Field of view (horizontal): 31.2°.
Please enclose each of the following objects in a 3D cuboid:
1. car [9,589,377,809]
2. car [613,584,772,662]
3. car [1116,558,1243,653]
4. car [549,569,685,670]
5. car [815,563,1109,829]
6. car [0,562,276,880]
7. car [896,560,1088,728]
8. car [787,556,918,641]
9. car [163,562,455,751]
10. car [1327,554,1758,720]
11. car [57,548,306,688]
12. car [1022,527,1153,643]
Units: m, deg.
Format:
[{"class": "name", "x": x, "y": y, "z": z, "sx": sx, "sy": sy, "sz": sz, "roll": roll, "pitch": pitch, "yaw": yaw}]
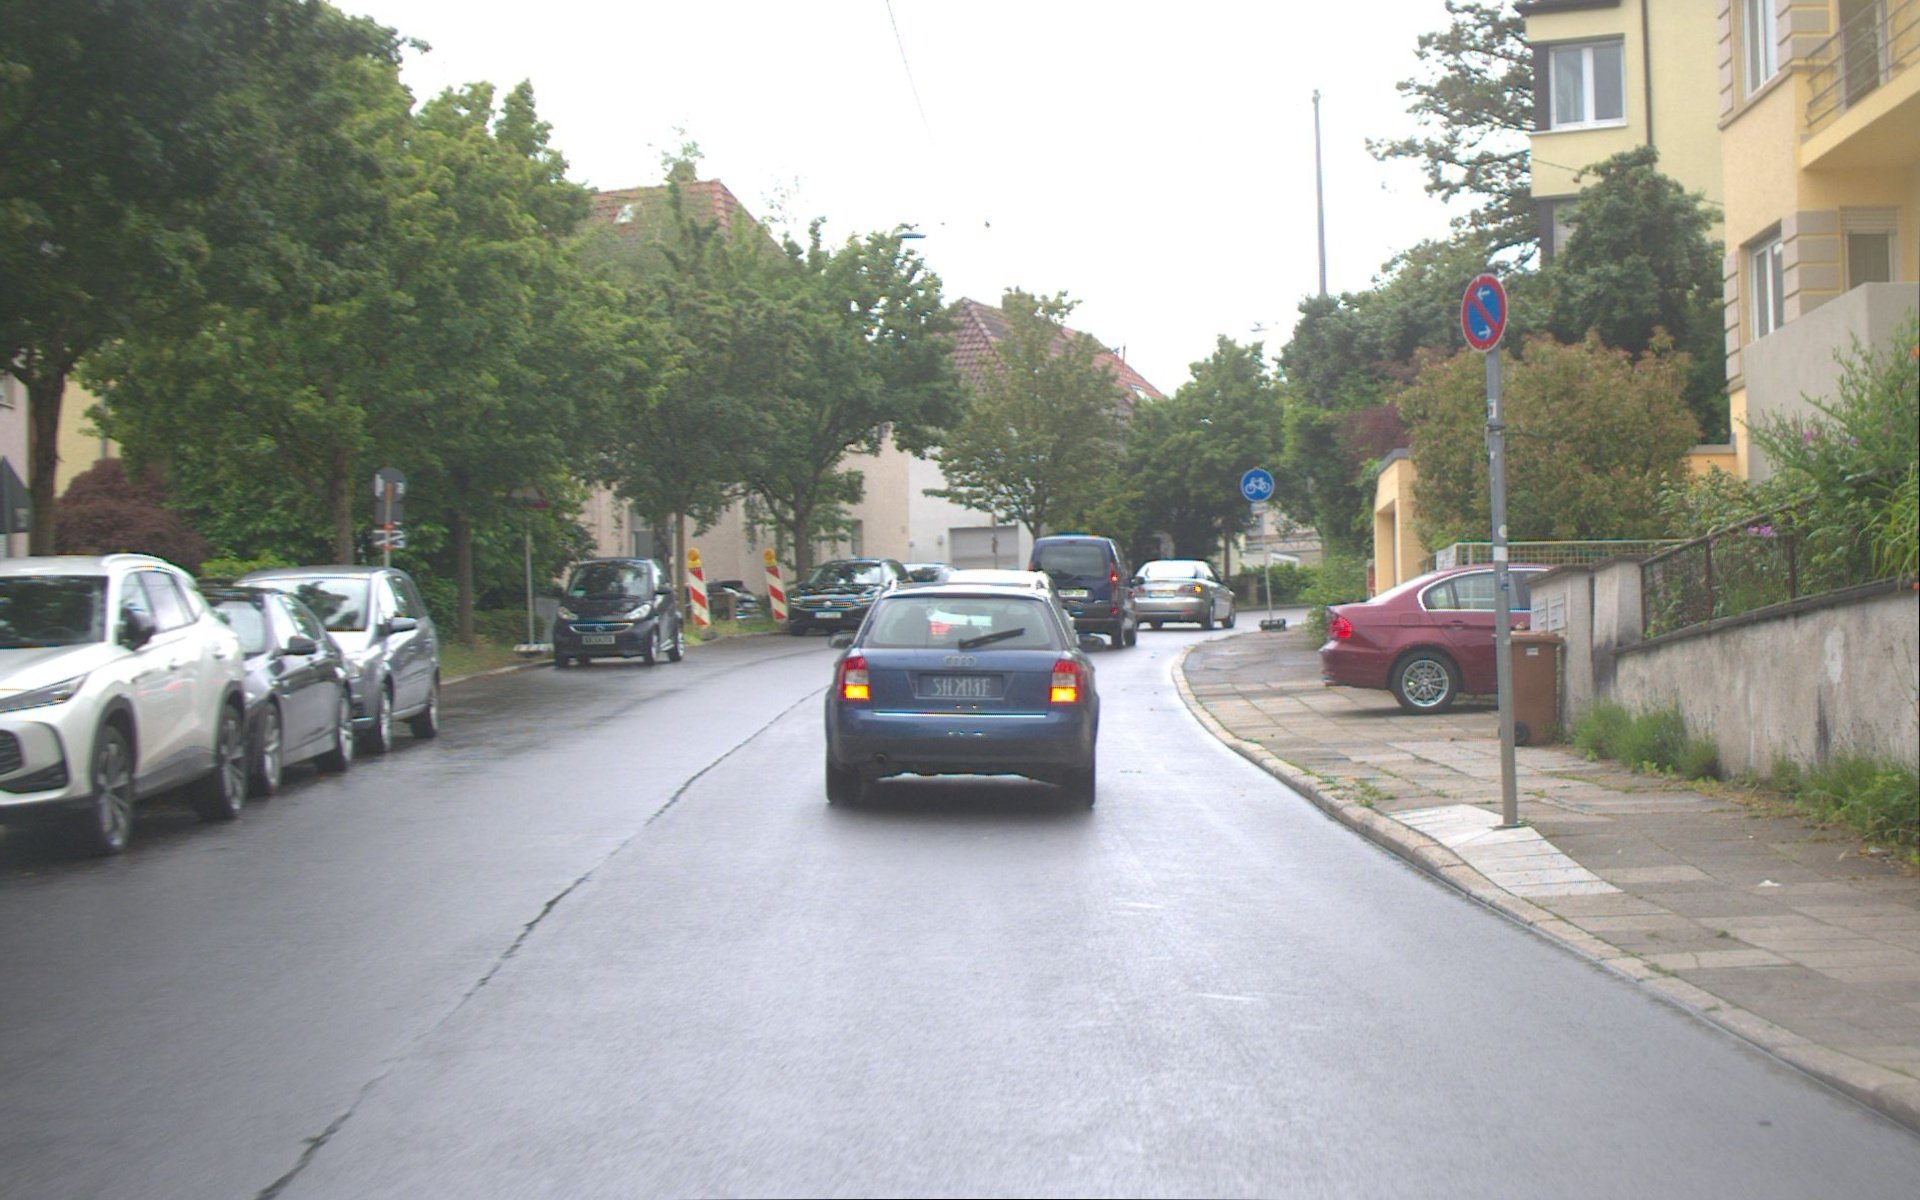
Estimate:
[{"class": "car", "x": -5.558, "y": 0.675, "z": 25.391, "sx": 1.768, "sy": 1.468, "sz": 4.007, "roll": -1, "pitch": 0, "yaw": 1}, {"class": "car", "x": -6.190, "y": 0.535, "z": 79.670, "sx": 3.212, "sy": 1.367, "sz": 1.479, "roll": -7, "pitch": 2, "yaw": 17}, {"class": "car", "x": 4.558, "y": 0.079, "z": 70.841, "sx": 1.735, "sy": 1.762, "sz": 4.232, "roll": 3, "pitch": 2, "yaw": 15}, {"class": "car", "x": -4.968, "y": 0.264, "z": 50.087, "sx": 1.475, "sy": 1.291, "sz": 3.220, "roll": 3, "pitch": 2, "yaw": 3}, {"class": "car", "x": 0.022, "y": 0.565, "z": 22.977, "sx": 1.733, "sy": 1.461, "sz": 4.000, "roll": 2, "pitch": 2, "yaw": 0}, {"class": "car", "x": -5.403, "y": 0.635, "z": 19.973, "sx": 1.768, "sy": 1.621, "sz": 4.690, "roll": -1, "pitch": 0, "yaw": 2}, {"class": "car", "x": 0.420, "y": 0.453, "z": 39.069, "sx": 1.975, "sy": 1.629, "sz": 4.235, "roll": 3, "pitch": 2, "yaw": 2}, {"class": "car", "x": -2.055, "y": -0.048, "z": 66.928, "sx": 1.734, "sy": 1.461, "sz": 3.999, "roll": 3, "pitch": 2, "yaw": 10}, {"class": "car", "x": -5.709, "y": 0.469, "z": 30.591, "sx": 1.768, "sy": 1.534, "sz": 4.007, "roll": -1, "pitch": 0, "yaw": 1}, {"class": "car", "x": 5.634, "y": 0.349, "z": 33.645, "sx": 3.987, "sy": 1.461, "sz": 1.739, "roll": -1, "pitch": 2, "yaw": 5}, {"class": "car", "x": -11.649, "y": 0.255, "z": 51.576, "sx": 3.210, "sy": 1.734, "sz": 1.479, "roll": -6, "pitch": 2, "yaw": 2}, {"class": "car", "x": 2.167, "y": -0.284, "z": 57.448, "sx": 1.734, "sy": 1.762, "sz": 4.234, "roll": 3, "pitch": 2, "yaw": 7}]
